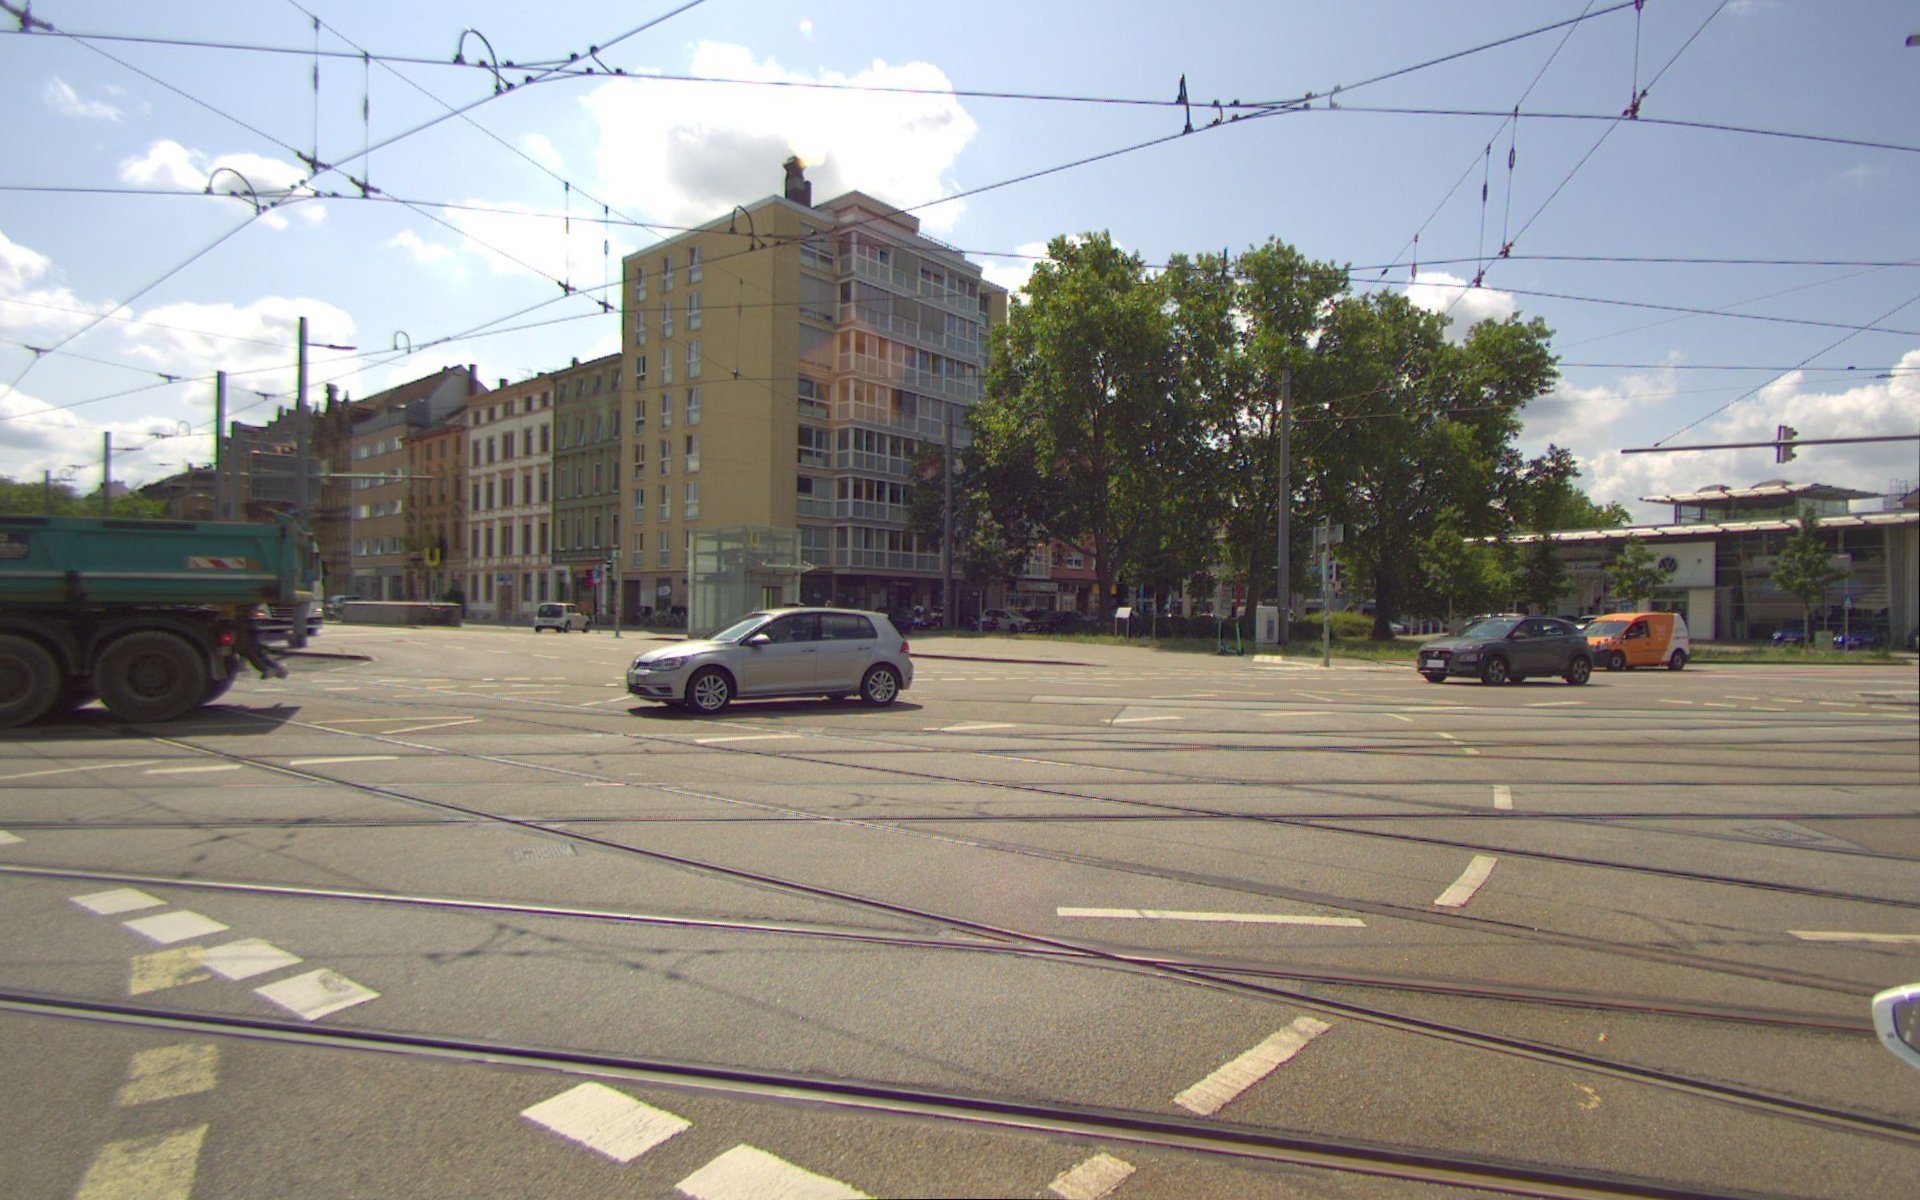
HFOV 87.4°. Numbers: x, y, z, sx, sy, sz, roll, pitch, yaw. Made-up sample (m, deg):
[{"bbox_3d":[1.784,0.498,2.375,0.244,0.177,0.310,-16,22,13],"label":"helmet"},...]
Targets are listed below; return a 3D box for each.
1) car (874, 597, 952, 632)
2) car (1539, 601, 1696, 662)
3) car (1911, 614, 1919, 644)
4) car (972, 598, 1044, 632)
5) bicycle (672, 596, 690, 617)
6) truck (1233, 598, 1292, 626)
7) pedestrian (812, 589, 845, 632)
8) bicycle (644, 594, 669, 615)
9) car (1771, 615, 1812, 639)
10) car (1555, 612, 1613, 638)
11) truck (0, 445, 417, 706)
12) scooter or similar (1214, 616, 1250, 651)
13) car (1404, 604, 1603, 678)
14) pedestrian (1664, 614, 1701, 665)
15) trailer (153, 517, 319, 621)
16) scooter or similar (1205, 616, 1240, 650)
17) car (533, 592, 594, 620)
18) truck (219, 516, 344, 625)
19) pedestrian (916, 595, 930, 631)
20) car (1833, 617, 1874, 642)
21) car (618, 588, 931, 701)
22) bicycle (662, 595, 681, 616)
[{"bbox_3d":[-2.570,0.779,54.481,4.057,1.687,1.859,3,1,42],"label":"car"},{"bbox_3d":[20.693,0.996,31.626,4.669,1.824,1.715,1,-1,-21],"label":"car"},{"bbox_3d":[53.633,1.673,54.689,3.962,1.595,1.979,3,0,-36],"label":"car"},{"bbox_3d":[2.957,0.935,62.589,4.051,1.883,1.974,3,1,42],"label":"car"},{"bbox_3d":[-16.007,0.369,57.631,0.502,1.162,2.134,3,0,-3],"label":"bicycle"},{"bbox_3d":[24.867,0.981,82.490,4.720,2.149,1.796,1,0,-29],"label":"truck"},{"bbox_3d":[-5.219,0.412,39.786,0.847,1.654,1.026,3,1,20],"label":"pedestrian"},{"bbox_3d":[-18.108,0.263,59.890,0.524,1.162,1.921,2,1,-44],"label":"bicycle"},{"bbox_3d":[49.042,1.590,59.241,1.630,1.267,3.978,3,0,42],"label":"car"},{"bbox_3d":[43.526,1.772,70.013,4.138,1.595,1.979,3,0,-36],"label":"car"},{"bbox_3d":[-11.603,-0.299,12.234,8.684,2.890,2.873,1,0,-29],"label":"truck"},{"bbox_3d":[9.232,1.143,34.141,1.077,1.130,0.378,3,1,-14],"label":"scooter or similar"},{"bbox_3d":[12.367,0.919,22.868,4.058,1.552,1.716,1,0,-20],"label":"car"},{"bbox_3d":[26.232,1.429,36.473,0.753,1.824,0.759,1,0,-20],"label":"pedestrian"},{"bbox_3d":[-32.545,-1.507,44.746,13.833,4.022,2.695,3,1,41],"label":"trailer"},{"bbox_3d":[9.085,1.133,34.778,1.077,1.130,0.378,3,1,-14],"label":"scooter or similar"},{"bbox_3d":[-19.959,0.305,50.714,1.625,1.339,3.357,1,0,2],"label":"car"},{"bbox_3d":[-27.096,-1.192,40.057,5.368,4.022,2.695,3,1,40],"label":"truck"},{"bbox_3d":[-1.822,0.645,49.420,0.538,1.745,0.370,3,1,8],"label":"pedestrian"},{"bbox_3d":[50.233,1.650,56.434,1.630,1.267,3.978,3,0,42],"label":"car"},{"bbox_3d":[-2.667,0.605,14.777,4.224,1.453,1.644,1,0,-33],"label":"car"},{"bbox_3d":[-16.664,0.290,58.009,0.502,1.162,2.134,3,0,-3],"label":"bicycle"}]
